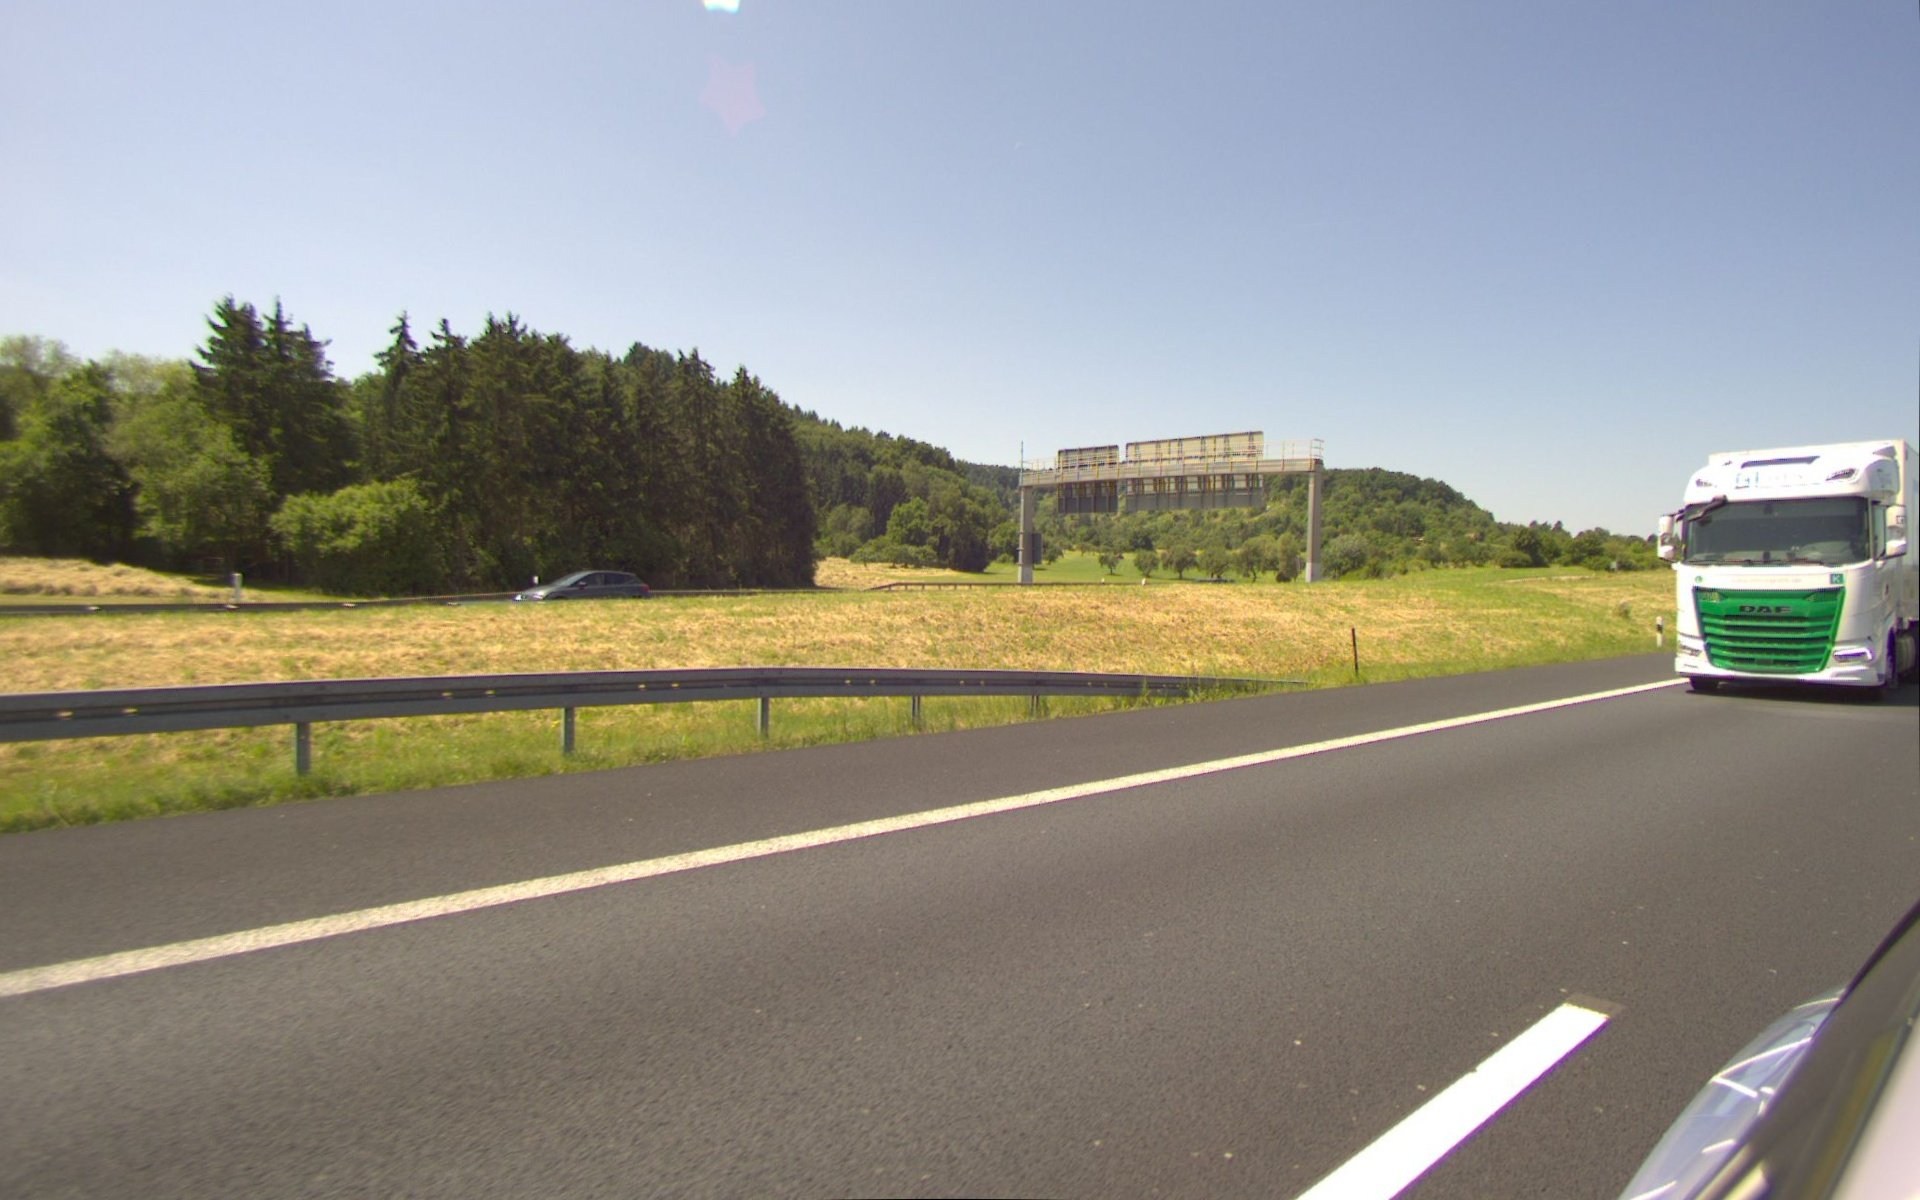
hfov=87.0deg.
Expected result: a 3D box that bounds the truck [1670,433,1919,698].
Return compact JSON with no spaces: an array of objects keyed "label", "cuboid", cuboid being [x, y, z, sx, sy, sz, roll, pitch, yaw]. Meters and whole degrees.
[{"label":"truck","cuboid":[13.659,-0.506,16.343,4.328,3.638,2.646,-1,0,-42]}]

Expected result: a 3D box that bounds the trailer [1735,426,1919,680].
[{"label":"trailer","cuboid":[20.775,-0.837,22.650,14.636,4.241,2.660,0,0,-41]}]

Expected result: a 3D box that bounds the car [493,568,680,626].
[{"label":"car","cuboid":[-11.613,-0.125,31.678,5.140,1.683,1.996,-1,0,-43]}]
